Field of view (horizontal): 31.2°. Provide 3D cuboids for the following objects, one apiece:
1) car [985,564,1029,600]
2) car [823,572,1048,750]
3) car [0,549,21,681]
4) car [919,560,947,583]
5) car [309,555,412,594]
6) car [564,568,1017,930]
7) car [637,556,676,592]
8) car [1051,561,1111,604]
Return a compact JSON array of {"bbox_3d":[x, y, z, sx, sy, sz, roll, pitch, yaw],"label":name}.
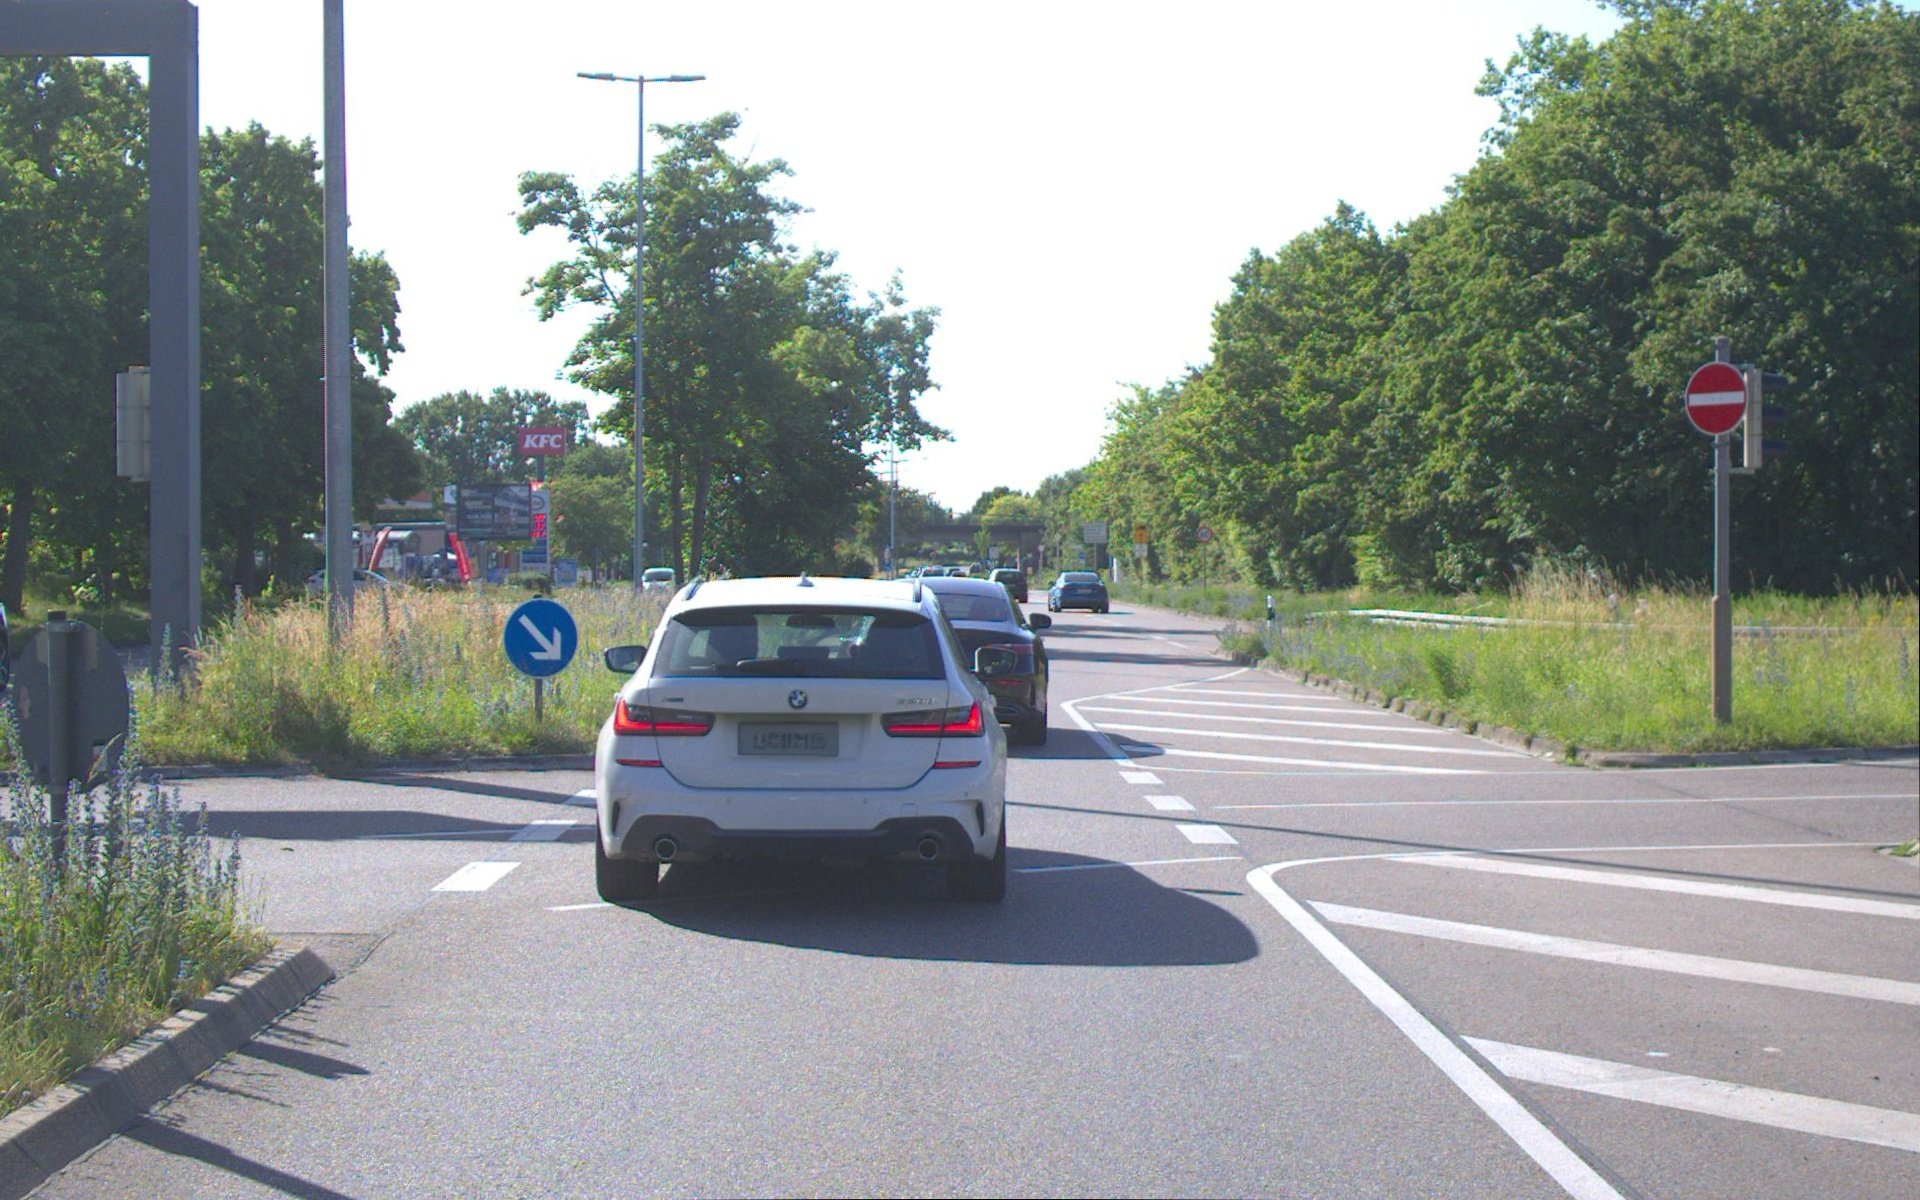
[{"bbox_3d":[2.088,-0.822,153.122,1.771,1.550,3.833,0,1,-2],"label":"car"},{"bbox_3d":[-0.236,0.492,30.901,1.861,1.450,4.548,0,1,-1],"label":"car"},{"bbox_3d":[-13.390,0.250,43.151,1.942,1.691,4.630,-2,1,-1],"label":"car"},{"bbox_3d":[-1.810,-1.916,229.466,1.861,1.560,4.548,0,1,-1],"label":"car"},{"bbox_3d":[-25.988,-1.116,149.074,4.110,1.656,1.893,-1,1,2],"label":"car"},{"bbox_3d":[-0.717,0.599,16.585,1.861,1.450,4.548,1,1,0],"label":"car"},{"bbox_3d":[-14.978,-1.298,169.752,1.706,1.740,4.166,0,1,-2],"label":"car"},{"bbox_3d":[4.238,-0.636,121.068,1.861,1.494,4.337,0,1,-1],"label":"car"}]
